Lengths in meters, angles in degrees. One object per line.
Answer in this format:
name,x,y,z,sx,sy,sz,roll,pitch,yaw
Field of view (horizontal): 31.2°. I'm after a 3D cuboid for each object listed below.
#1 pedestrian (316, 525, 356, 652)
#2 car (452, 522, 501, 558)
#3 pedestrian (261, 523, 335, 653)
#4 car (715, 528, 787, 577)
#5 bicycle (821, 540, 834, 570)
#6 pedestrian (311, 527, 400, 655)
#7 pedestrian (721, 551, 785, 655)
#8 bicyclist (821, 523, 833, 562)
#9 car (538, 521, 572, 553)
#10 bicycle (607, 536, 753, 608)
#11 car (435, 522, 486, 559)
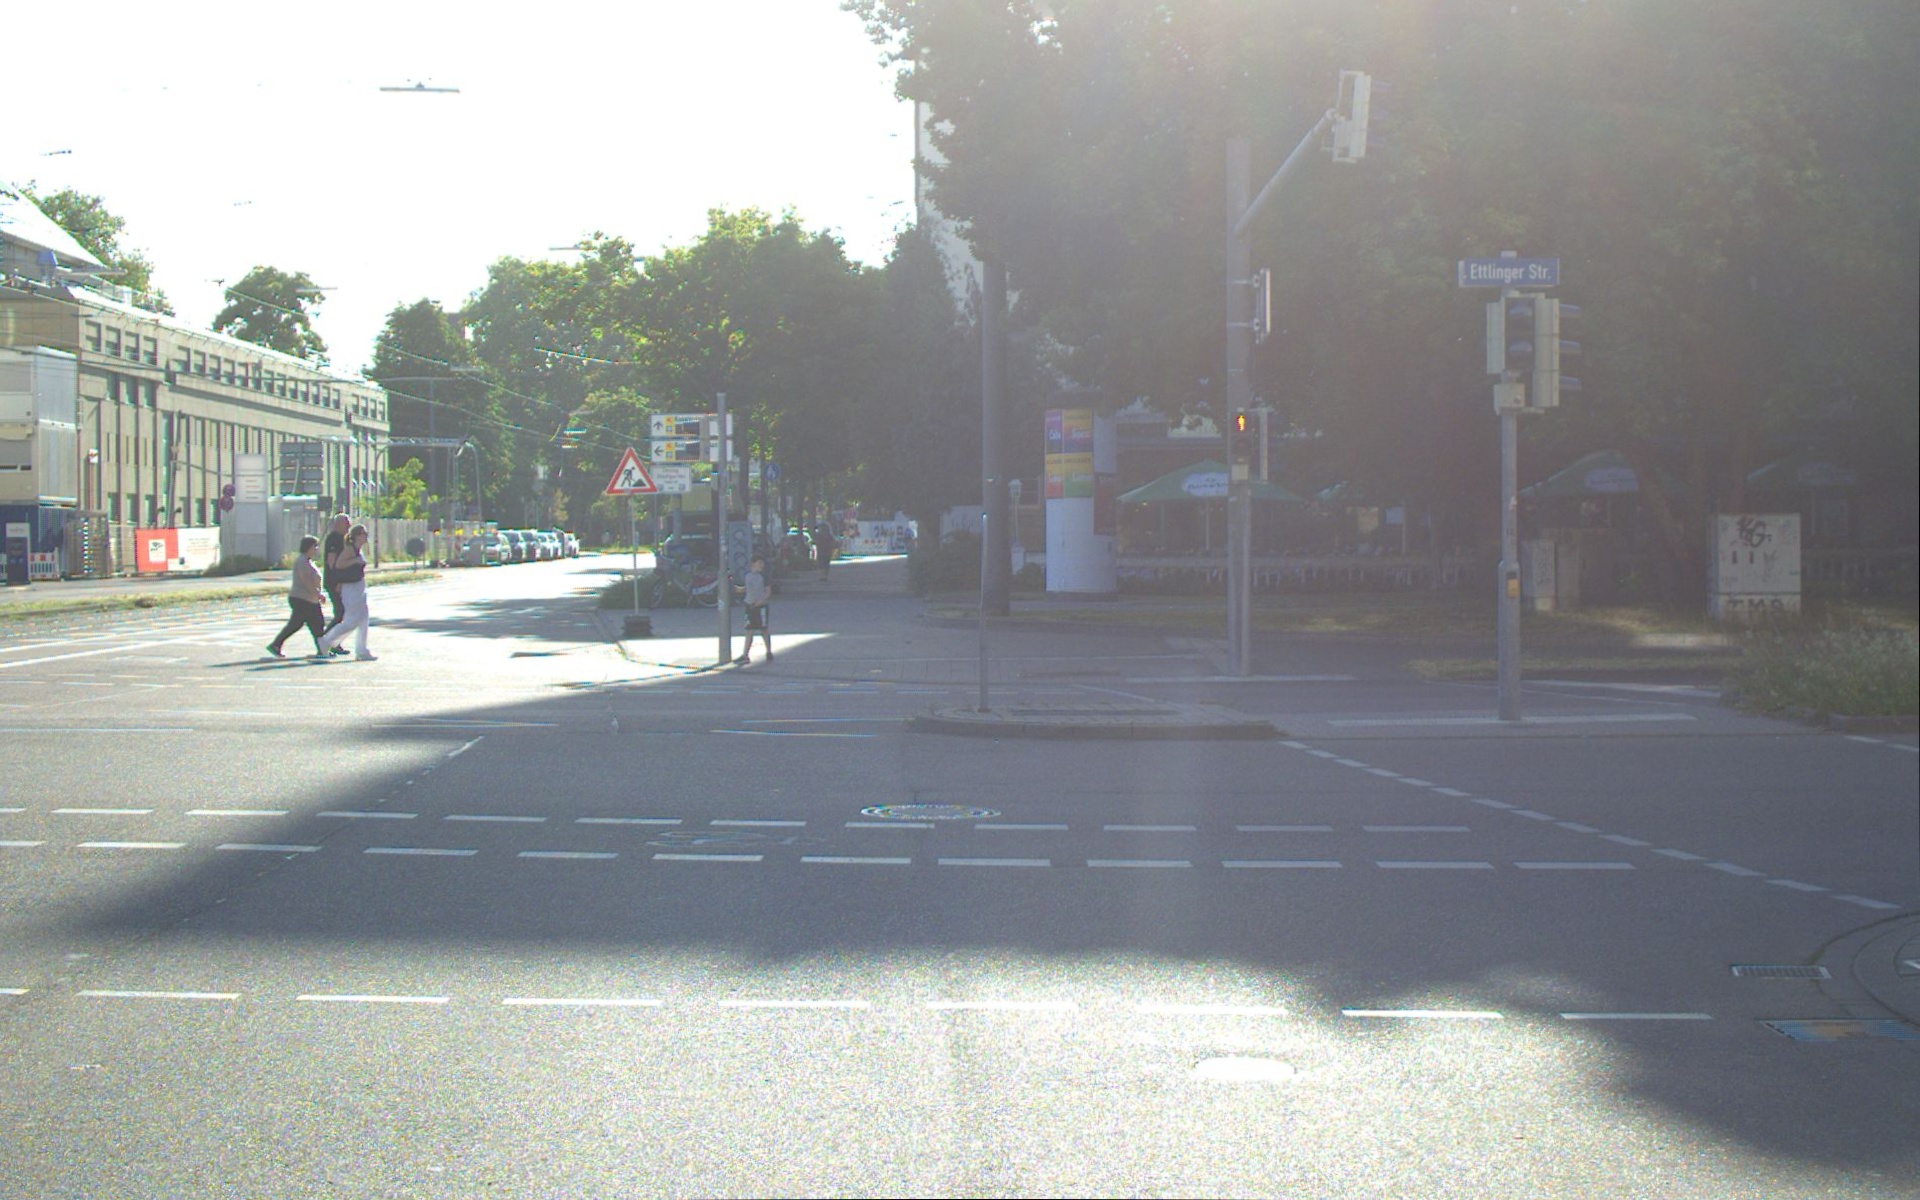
pedestrian,-8.179,-0.157,45.083,0.441,1.657,0.376,-1,1,-1
car,-22.486,-2.799,160.052,1.731,1.647,4.000,0,1,-1
pedestrian,-8.375,-0.155,43.517,0.795,1.634,0.533,0,1,2
car,-5.555,-1.273,91.687,1.819,1.274,4.001,0,1,-3
bicycle,-3.817,-1.296,99.121,0.324,0.865,1.483,-1,1,-1
pedestrian,-7.578,-0.117,43.125,0.984,1.582,0.660,0,0,1
pedestrian,-2.669,0.036,44.328,0.752,1.328,0.742,0,1,1
bicyclist,-3.824,-1.661,99.043,0.318,1.123,0.291,-1,1,-1
car,-22.810,-3.560,193.874,1.483,1.744,4.000,-1,1,-1
bicycle,-5.463,-0.547,67.142,2.748,1.363,0.630,1,0,11
car,-22.643,-2.694,155.931,1.731,1.647,4.000,0,1,-1
